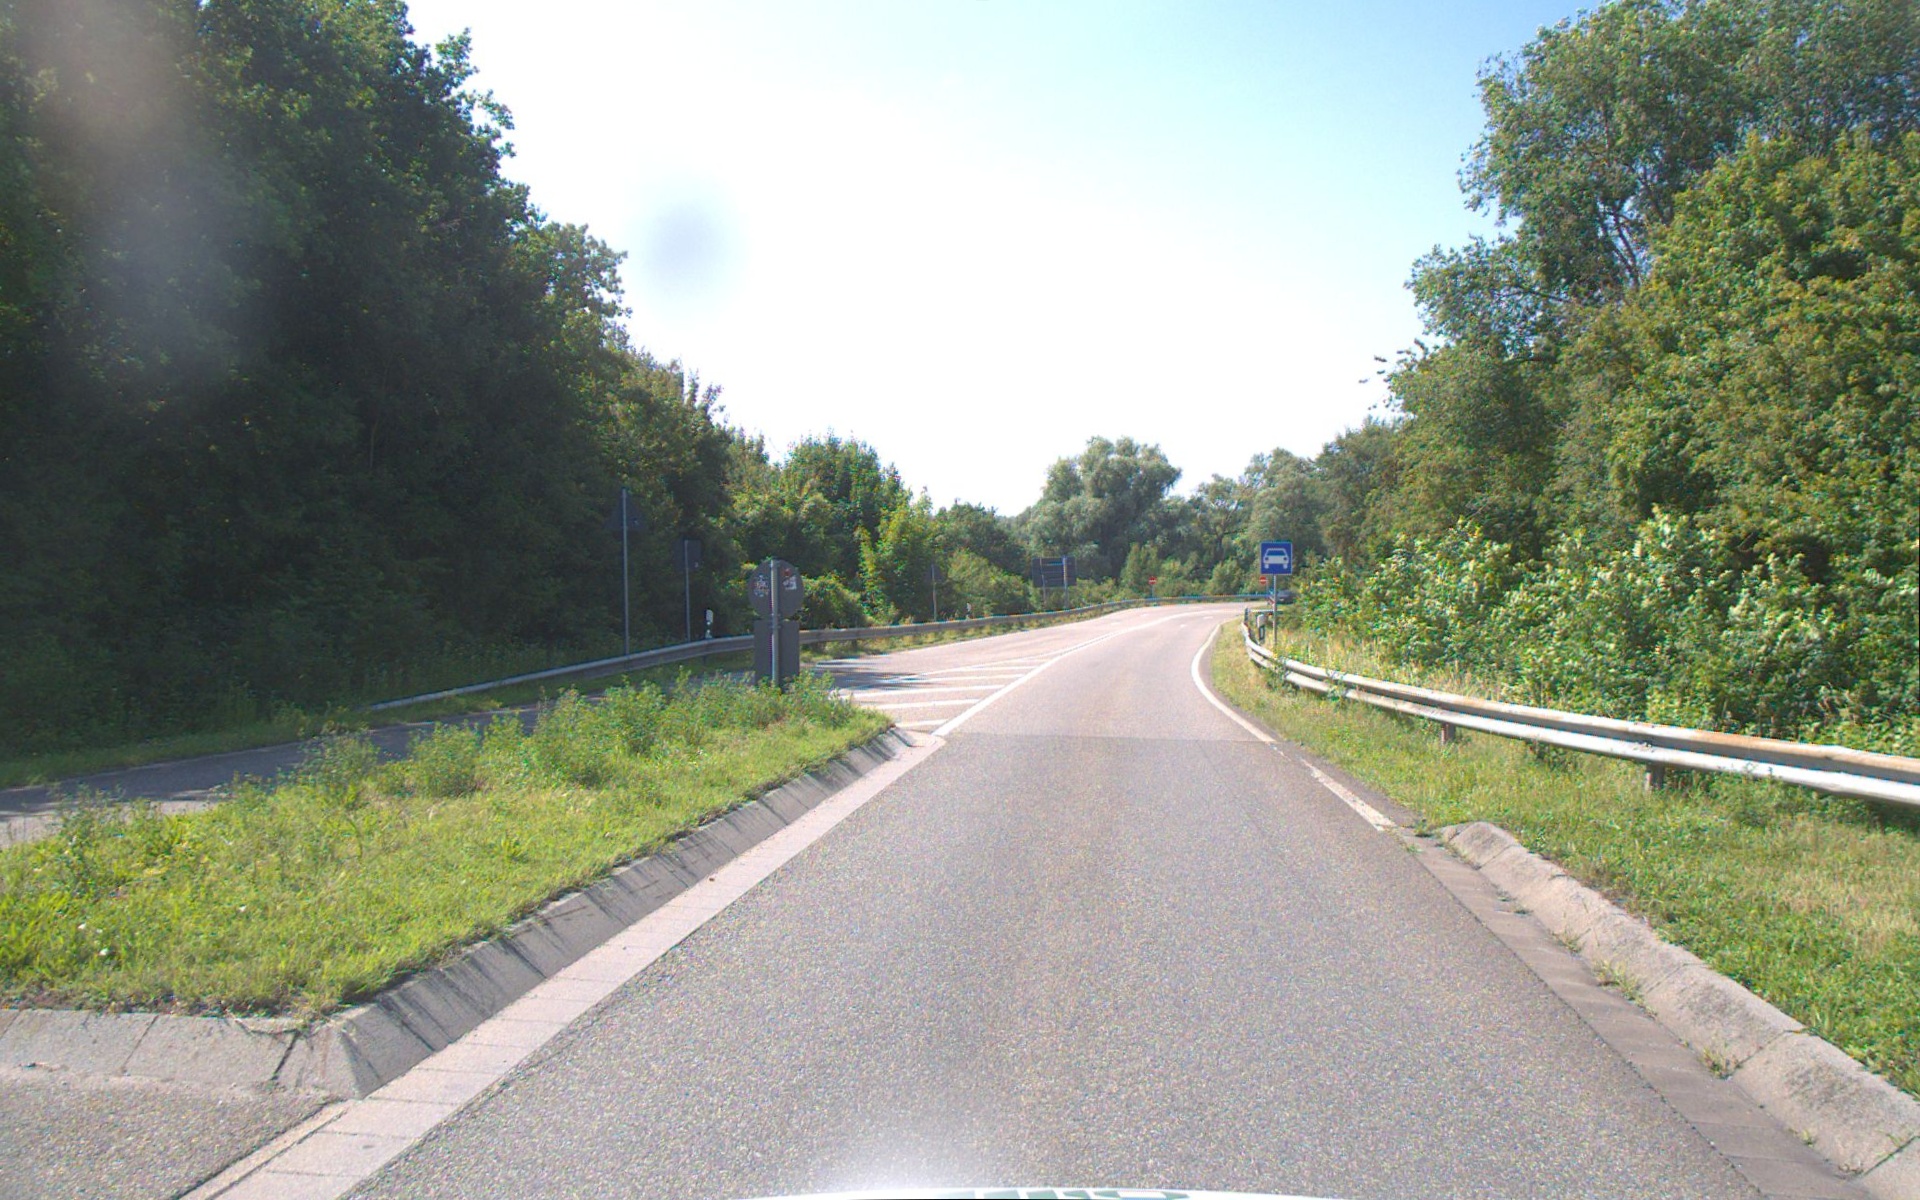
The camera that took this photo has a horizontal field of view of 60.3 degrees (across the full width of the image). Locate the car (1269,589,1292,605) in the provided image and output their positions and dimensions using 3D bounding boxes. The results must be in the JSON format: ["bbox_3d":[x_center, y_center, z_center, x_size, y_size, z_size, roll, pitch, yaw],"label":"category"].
[{"bbox_3d":[31.240,-0.311,161.117,1.574,1.499,4.221,0,0,19],"label":"car"}]
